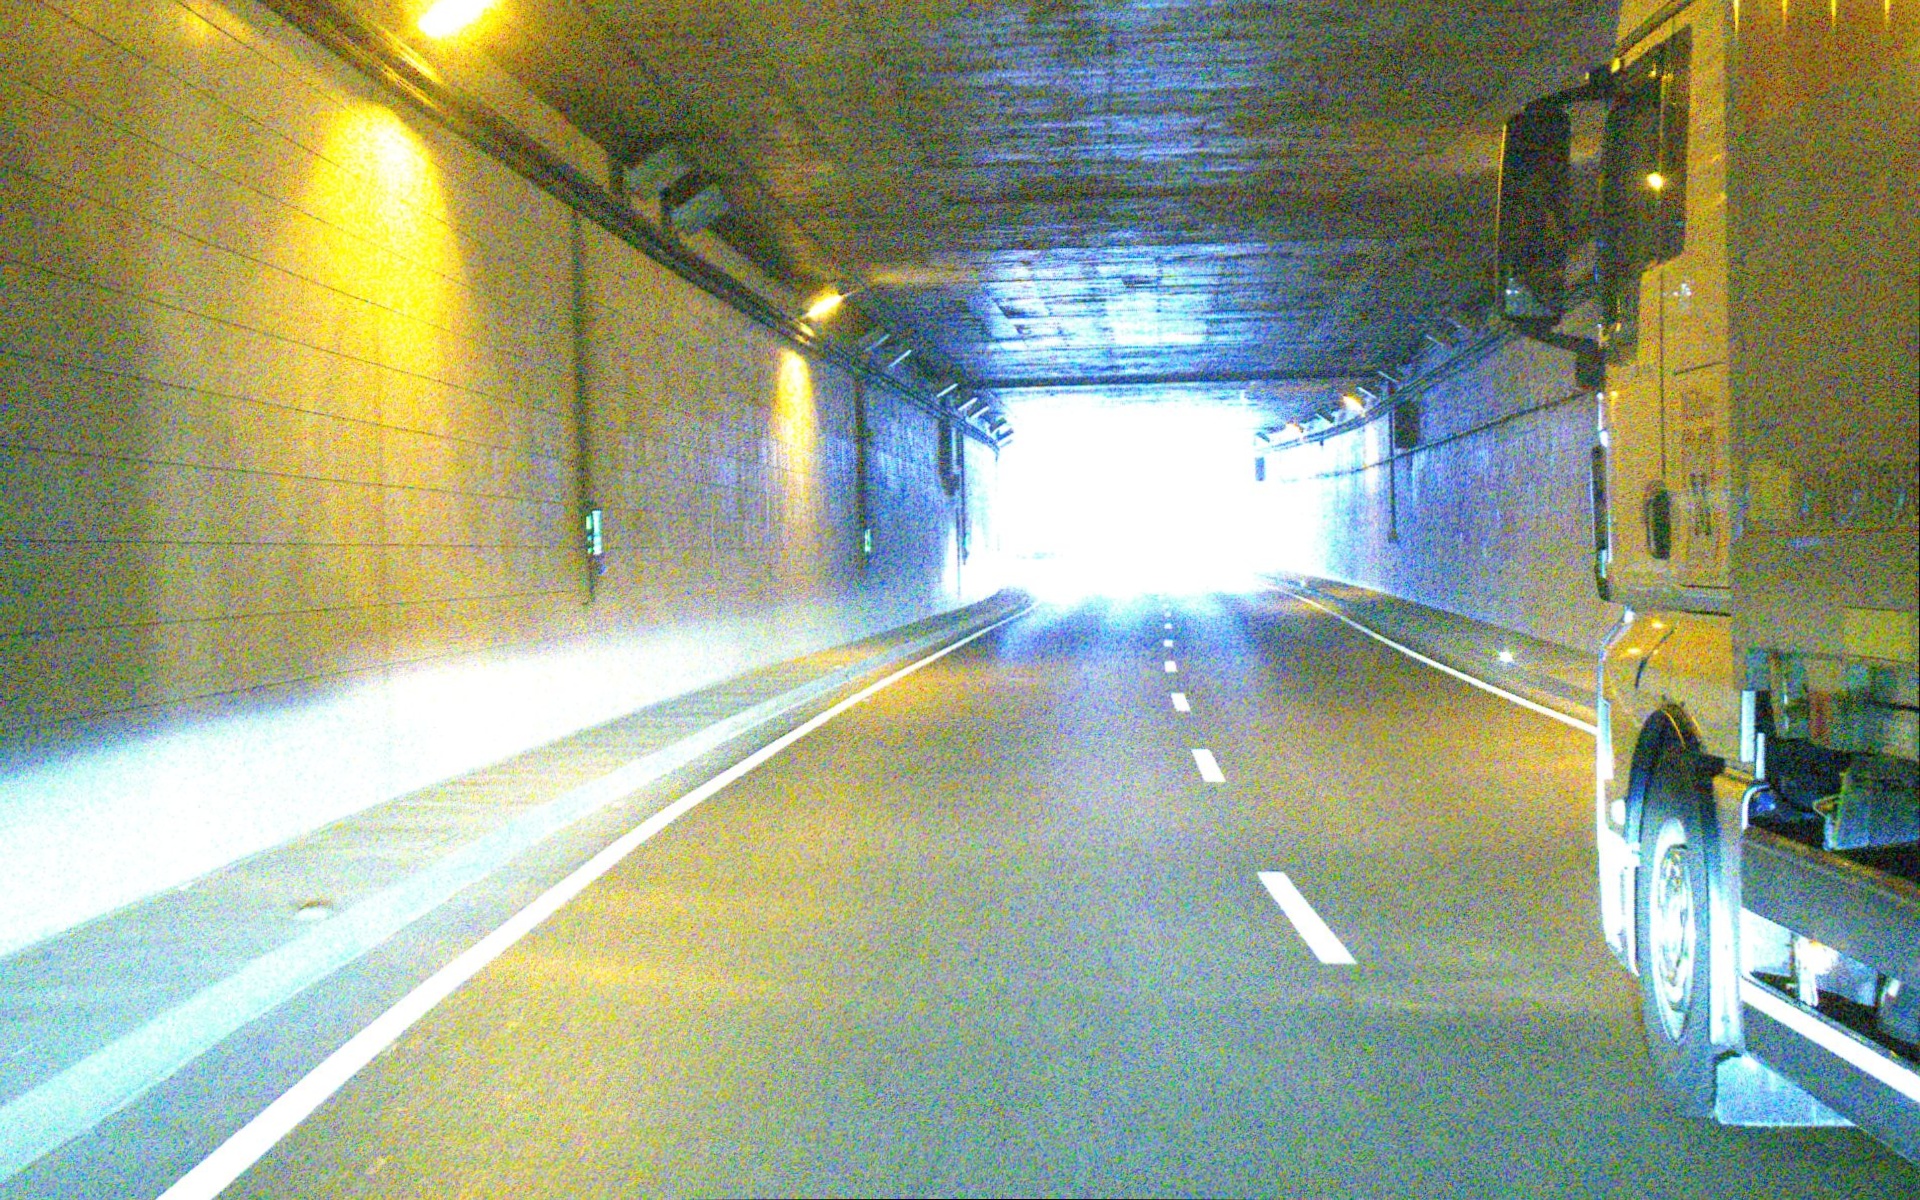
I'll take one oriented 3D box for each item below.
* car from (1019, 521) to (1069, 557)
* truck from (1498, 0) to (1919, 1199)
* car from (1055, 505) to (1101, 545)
[{"bbox_3d":[3.389,-2.449,138.698,1.841,1.384,4.000,-1,1,-1],"label":"car"},{"bbox_3d":[3.127,-0.605,5.359,2.889,3.900,9.910,-1,1,-1],"label":"truck"},{"bbox_3d":[5.309,-3.374,154.753,1.869,1.726,4.000,-1,1,0],"label":"car"}]
